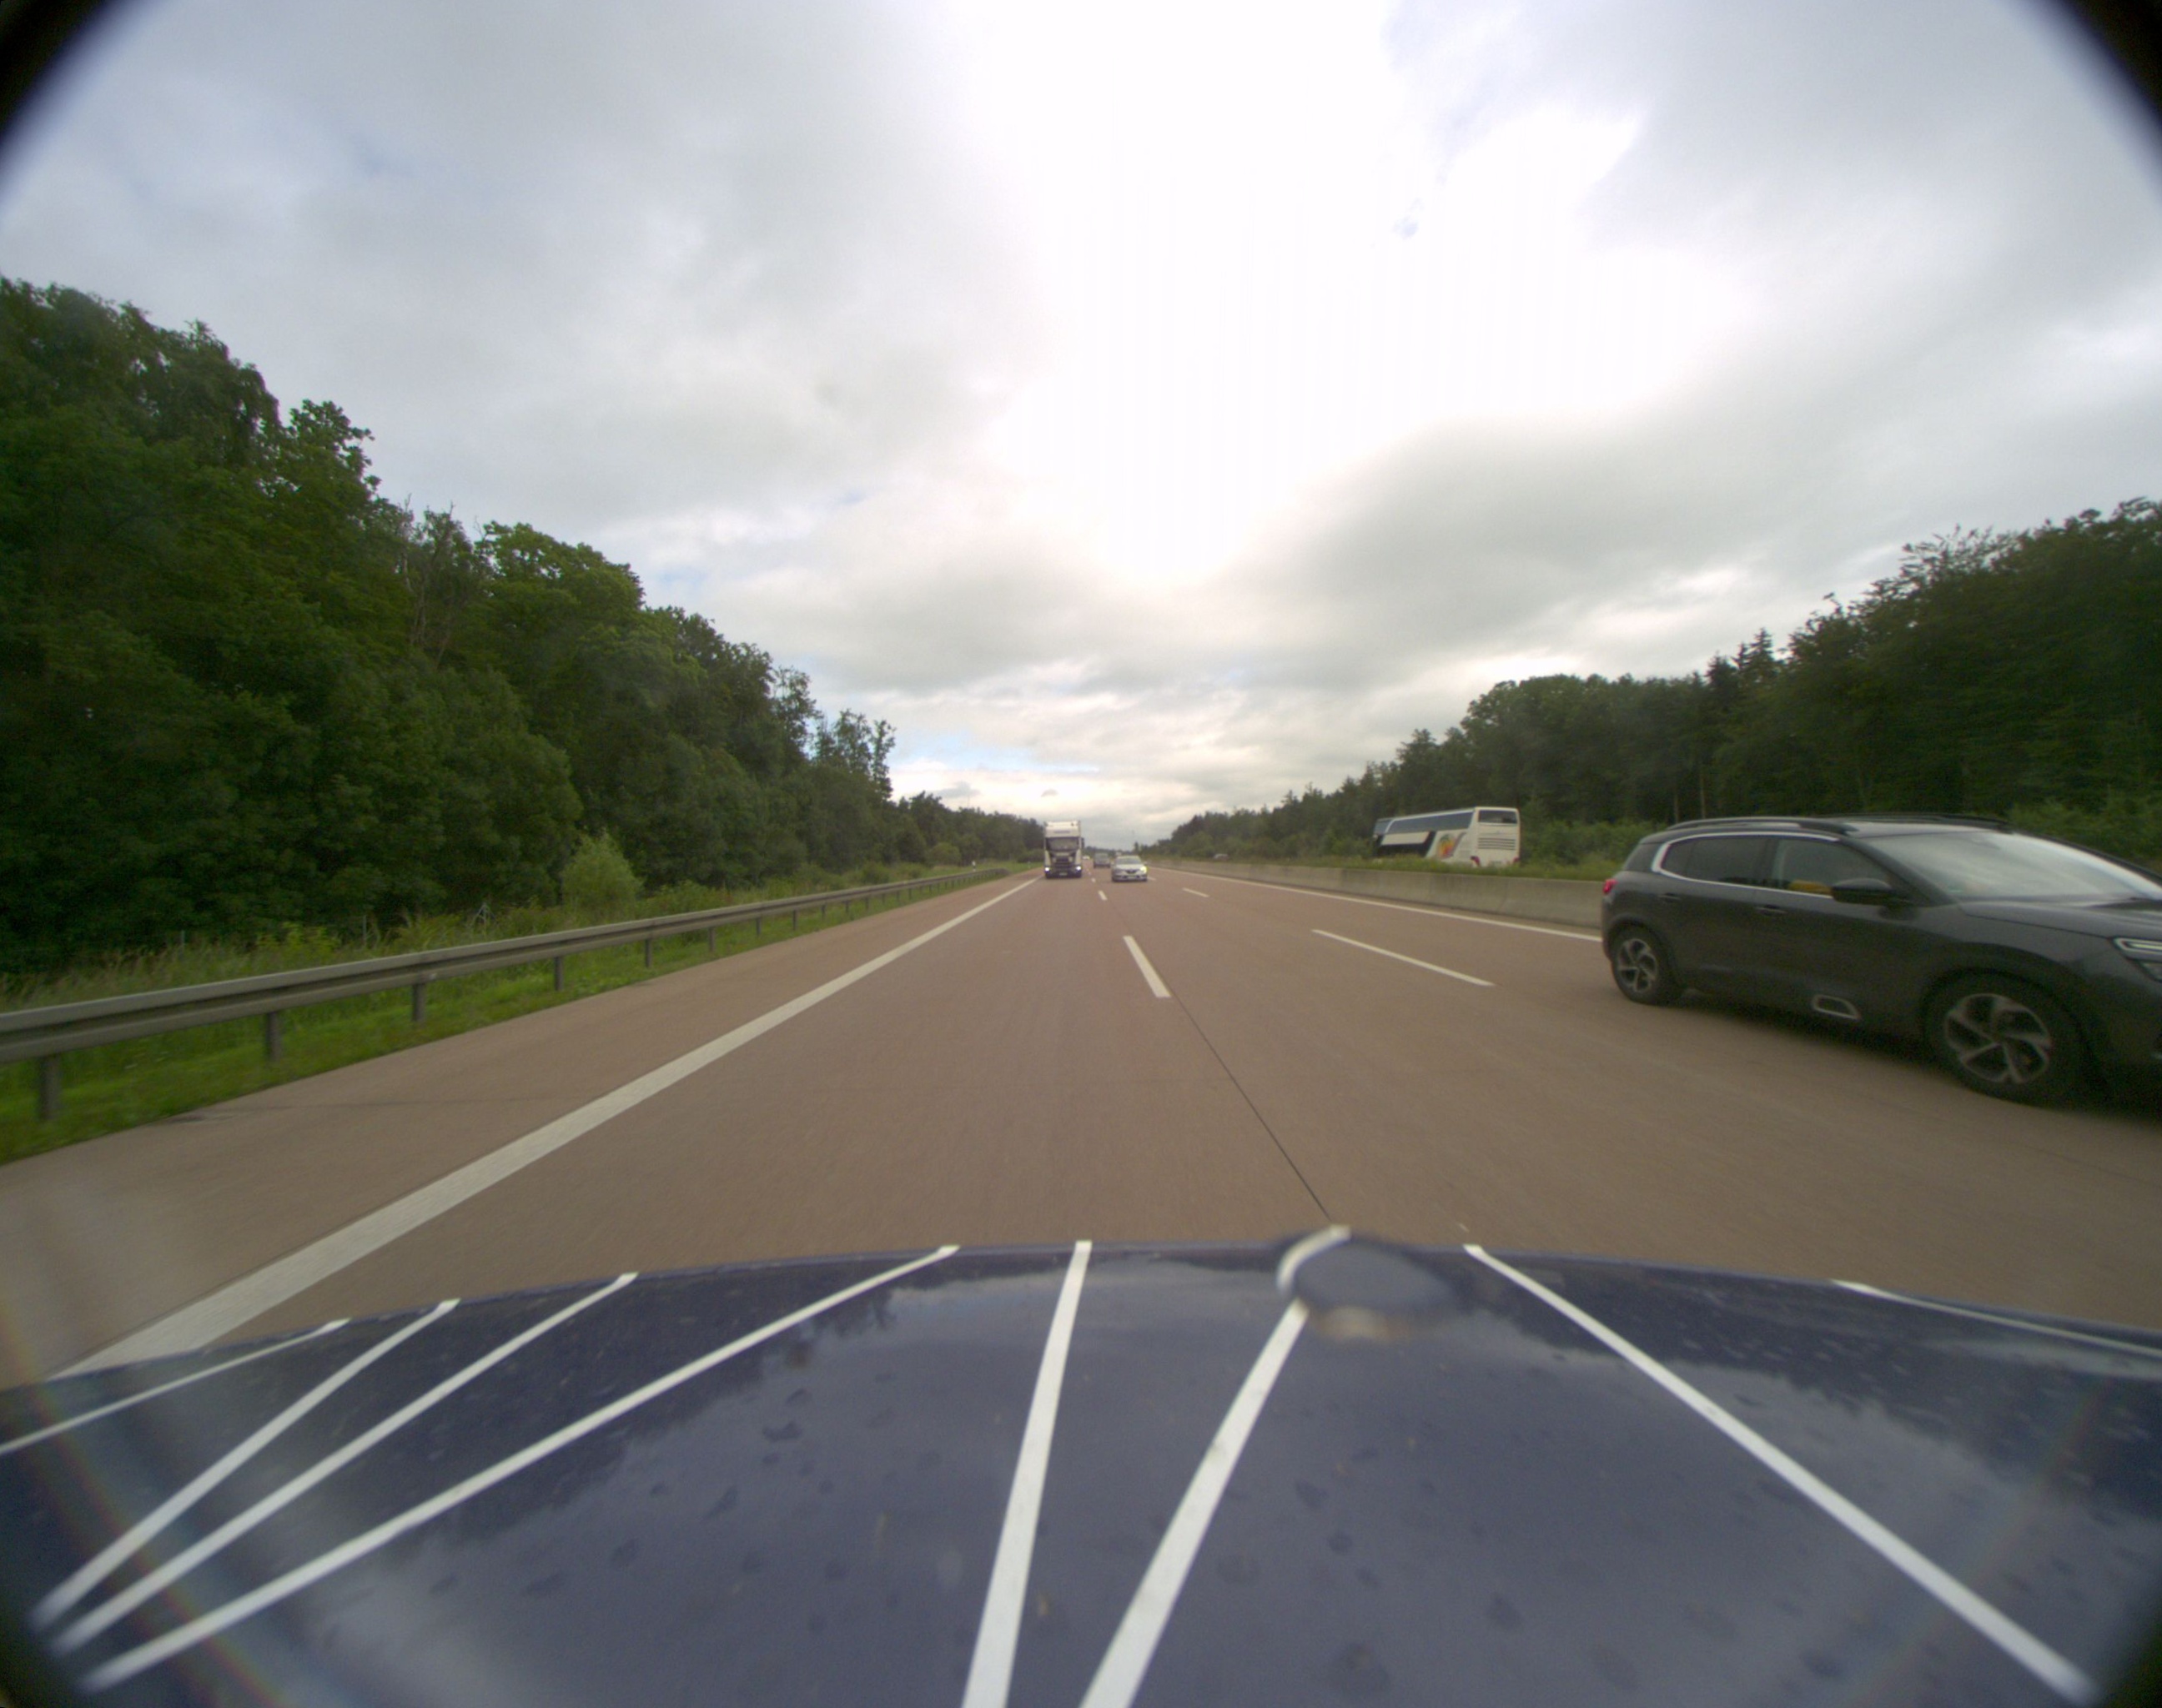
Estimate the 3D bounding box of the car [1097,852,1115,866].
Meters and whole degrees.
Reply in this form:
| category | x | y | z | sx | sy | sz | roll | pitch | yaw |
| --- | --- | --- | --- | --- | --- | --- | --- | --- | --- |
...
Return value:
| category | x | y | z | sx | sy | sz | roll | pitch | yaw |
| --- | --- | --- | --- | --- | --- | --- | --- | --- | --- |
| car | 2.901 | 0.599 | 89.948 | 1.986 | 1.499 | 4.052 | -2 | 0 | 0 |

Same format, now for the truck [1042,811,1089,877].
| category | x | y | z | sx | sy | sz | roll | pitch | yaw |
| --- | --- | --- | --- | --- | --- | --- | --- | --- | --- |
| truck | -1.028 | -0.663 | 52.361 | 2.929 | 4.269 | 5.334 | -2 | 0 | 0 |

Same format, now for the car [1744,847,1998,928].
| category | x | y | z | sx | sy | sz | roll | pitch | yaw |
| --- | --- | --- | --- | --- | --- | --- | --- | --- | --- |
| car | 18.039 | 0.680 | 17.671 | 1.738 | 1.608 | 4.000 | -2 | 0 | 1 |

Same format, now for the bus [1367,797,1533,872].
| category | x | y | z | sx | sy | sz | roll | pitch | yaw |
| --- | --- | --- | --- | --- | --- | --- | --- | --- | --- |
| bus | 21.990 | -1.037 | 46.904 | 3.056 | 3.866 | 14.360 | -2 | 0 | -1 |

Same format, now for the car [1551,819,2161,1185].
| category | x | y | z | sx | sy | sz | roll | pitch | yaw |
| --- | --- | --- | --- | --- | --- | --- | --- | --- | --- |
| car | 5.994 | 0.650 | 5.454 | 1.998 | 1.689 | 5.252 | -2 | 0 | 0 |

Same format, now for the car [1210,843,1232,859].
| category | x | y | z | sx | sy | sz | roll | pitch | yaw |
| --- | --- | --- | --- | --- | --- | --- | --- | --- | --- |
| car | 17.574 | -0.382 | 95.690 | 1.998 | 1.823 | 4.165 | -3 | 0 | 0 |

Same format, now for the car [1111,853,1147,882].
| category | x | y | z | sx | sy | sz | roll | pitch | yaw |
| --- | --- | --- | --- | --- | --- | --- | --- | --- | --- |
| car | 2.652 | 0.729 | 42.831 | 1.923 | 1.515 | 4.001 | -2 | 0 | 2 |

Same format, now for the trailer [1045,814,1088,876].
| category | x | y | z | sx | sy | sz | roll | pitch | yaw |
| --- | --- | --- | --- | --- | --- | --- | --- | --- | --- |
| trailer | -1.038 | -0.657 | 60.403 | 2.929 | 4.269 | 13.612 | -2 | 0 | 0 |
